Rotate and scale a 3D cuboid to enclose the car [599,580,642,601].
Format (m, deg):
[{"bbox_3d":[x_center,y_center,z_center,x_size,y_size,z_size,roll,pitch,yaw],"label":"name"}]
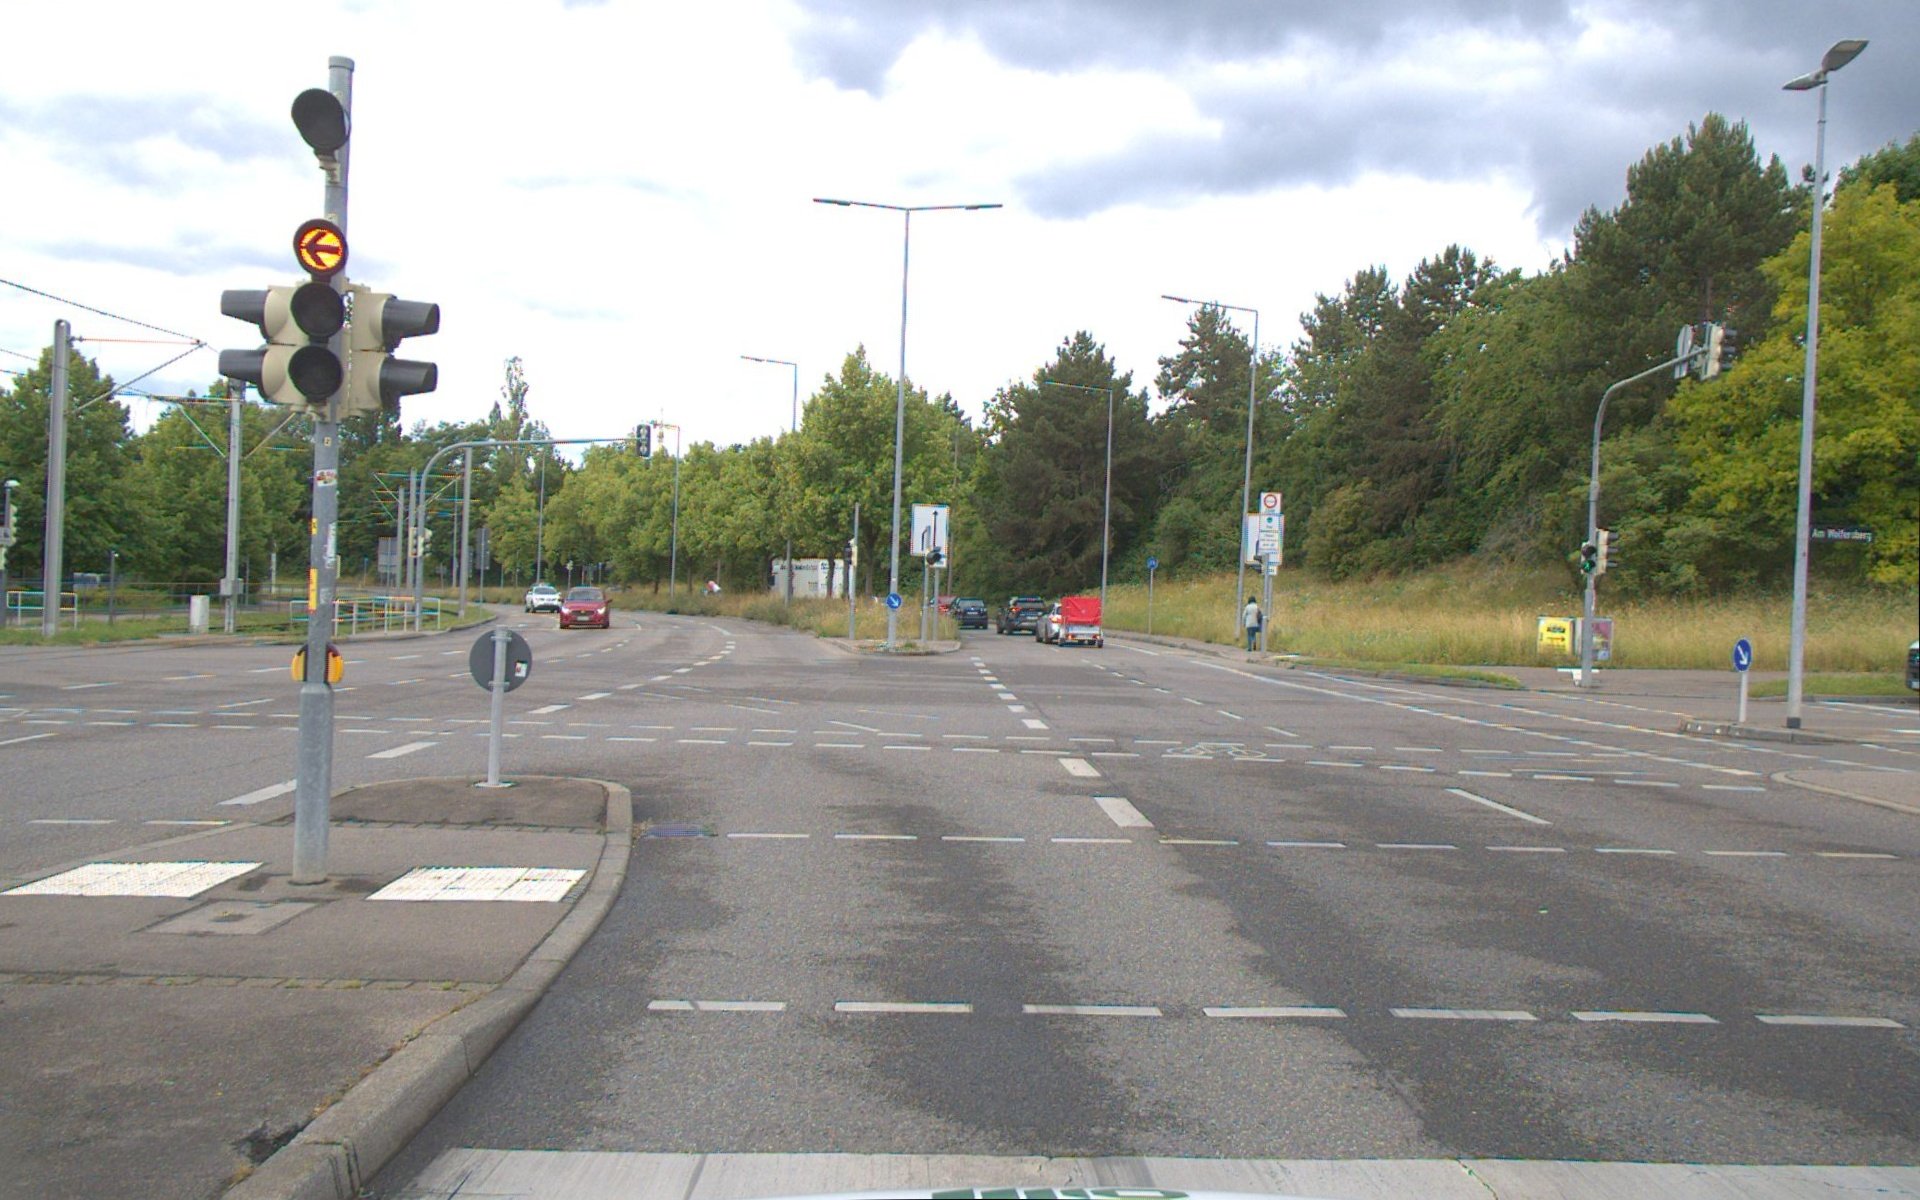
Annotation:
[{"bbox_3d":[-28.762,-0.833,140.079,1.980,1.713,3.945,1,0,-38],"label":"car"}]

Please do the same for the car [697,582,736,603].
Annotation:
[{"bbox_3d":[-18.641,-0.580,126.678,1.757,1.573,3.989,1,0,-27],"label":"car"}]

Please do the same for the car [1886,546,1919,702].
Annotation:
[{"bbox_3d":[20.337,0.465,30.098,5.772,2.830,2.135,0,0,-1],"label":"car"}]

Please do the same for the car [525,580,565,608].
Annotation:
[{"bbox_3d":[-24.828,-0.351,98.878,1.802,1.657,4.398,0,0,-21],"label":"car"}]

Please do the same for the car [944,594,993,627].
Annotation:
[{"bbox_3d":[0.400,0.492,82.409,1.745,1.573,4.016,1,0,-9],"label":"car"}]

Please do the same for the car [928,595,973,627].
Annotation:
[{"bbox_3d":[-0.530,0.587,88.615,1.746,1.573,4.015,-1,1,-10],"label":"car"}]

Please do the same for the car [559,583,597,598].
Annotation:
[{"bbox_3d":[-40.775,-0.982,176.709,1.744,1.573,4.018,1,0,29],"label":"car"}]

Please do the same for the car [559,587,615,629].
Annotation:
[{"bbox_3d":[-13.598,0.276,60.411,1.748,1.468,4.415,0,0,-10],"label":"car"}]

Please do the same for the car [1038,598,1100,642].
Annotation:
[{"bbox_3d":[3.872,0.697,59.265,1.742,1.446,4.457,1,0,-2],"label":"car"}]

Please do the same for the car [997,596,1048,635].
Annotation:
[{"bbox_3d":[2.688,0.644,71.933,1.743,1.573,4.021,1,0,-4],"label":"car"}]

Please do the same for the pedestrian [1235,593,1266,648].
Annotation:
[{"bbox_3d":[8.923,0.611,50.810,0.797,1.656,0.790,1,0,-1],"label":"pedestrian"}]

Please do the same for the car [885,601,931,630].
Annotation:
[{"bbox_3d":[-3.077,0.906,96.662,1.749,1.573,4.007,1,0,-16],"label":"car"}]

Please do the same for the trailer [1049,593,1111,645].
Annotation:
[{"bbox_3d":[4.010,0.620,55.526,1.729,1.644,3.043,1,0,-2],"label":"trailer"}]

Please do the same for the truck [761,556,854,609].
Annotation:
[{"bbox_3d":[-10.497,-1.202,112.474,2.704,3.387,11.319,1,0,-24],"label":"truck"}]
